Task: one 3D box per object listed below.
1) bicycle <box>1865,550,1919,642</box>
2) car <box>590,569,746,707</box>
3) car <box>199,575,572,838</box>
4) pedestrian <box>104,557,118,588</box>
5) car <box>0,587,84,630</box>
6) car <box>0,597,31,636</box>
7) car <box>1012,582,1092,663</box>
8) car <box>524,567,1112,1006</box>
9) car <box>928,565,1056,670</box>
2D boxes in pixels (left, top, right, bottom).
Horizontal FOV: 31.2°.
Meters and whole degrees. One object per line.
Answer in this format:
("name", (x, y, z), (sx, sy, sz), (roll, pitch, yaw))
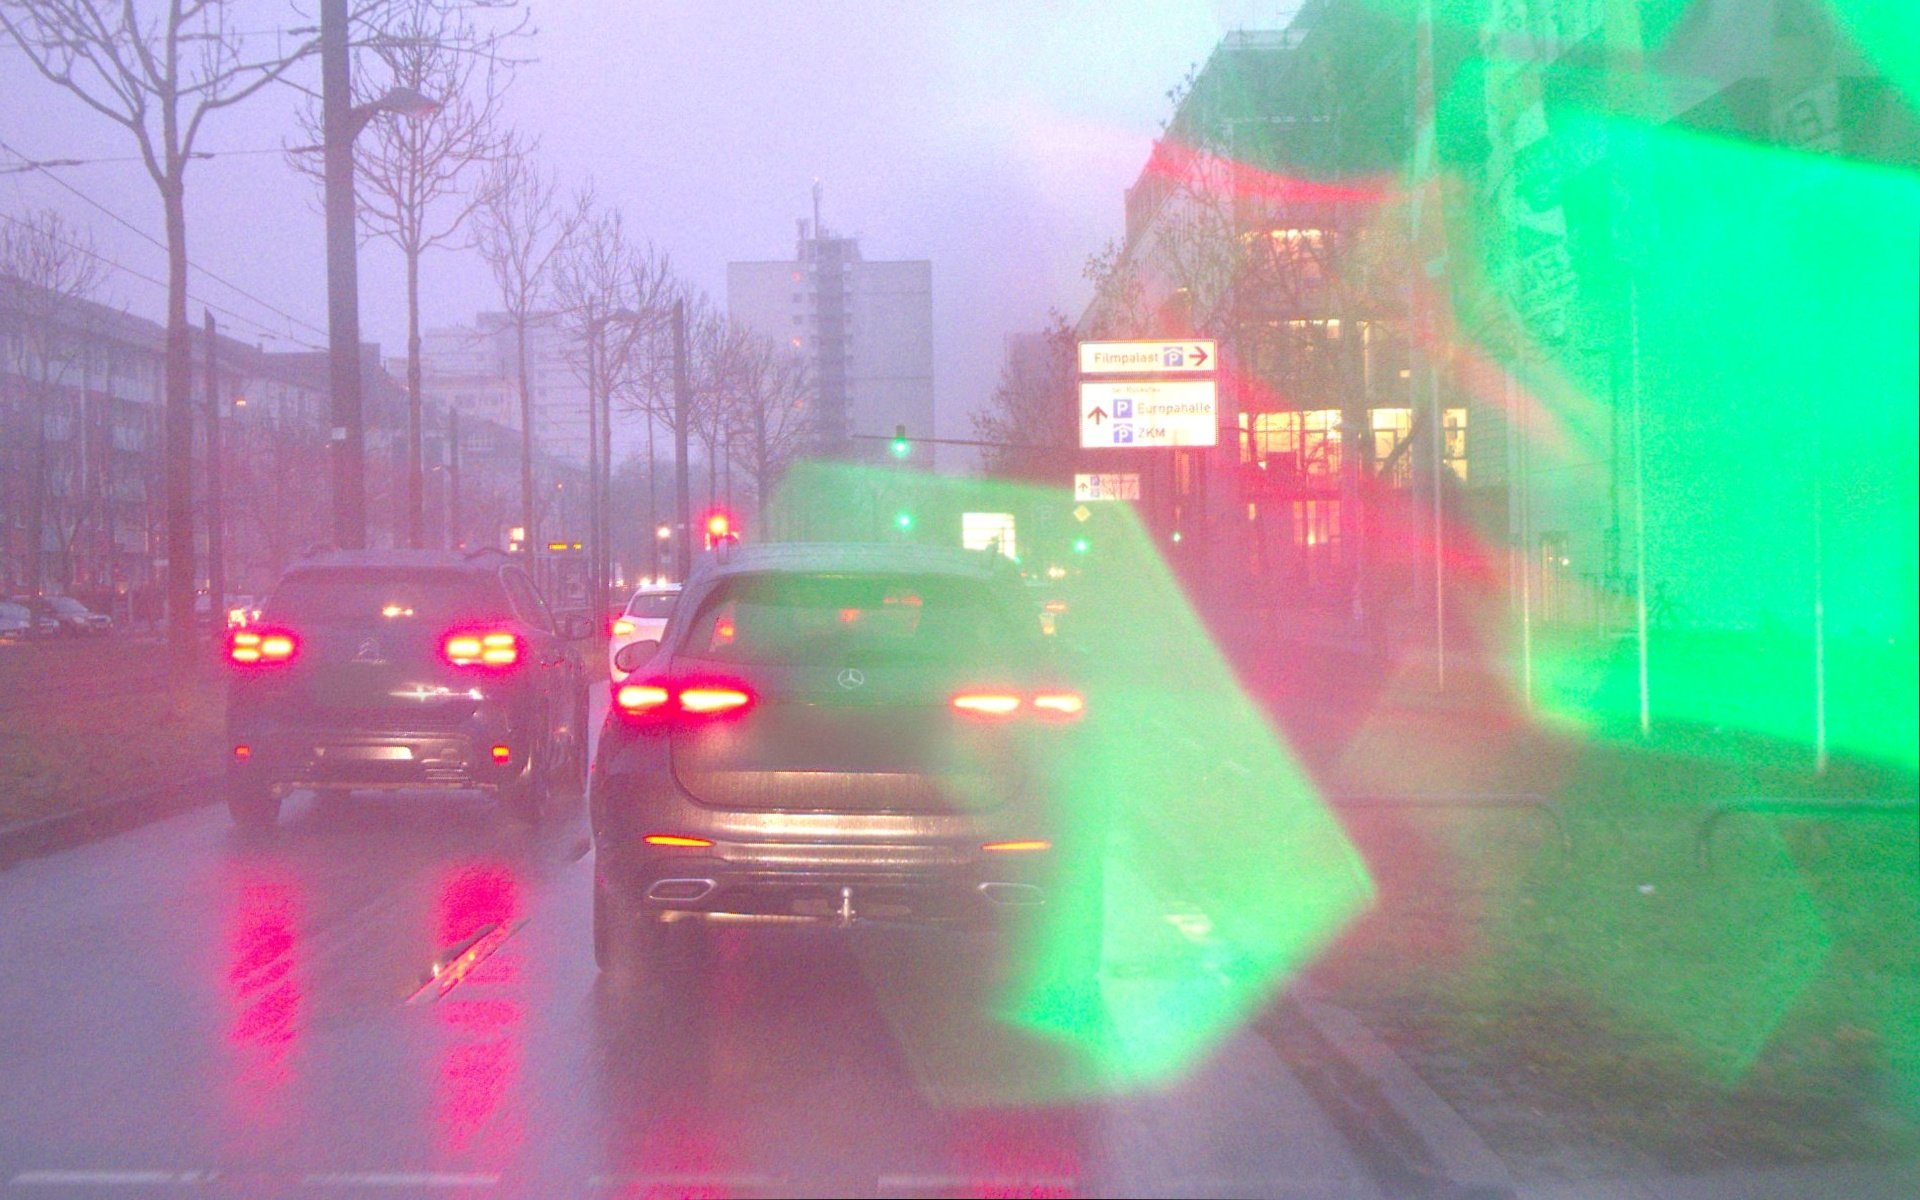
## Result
("bicycle", (13.206, -0.061, 48.669), (0.411, 1.280, 1.742), (1, 0, 26))
("car", (-3.610, 0.444, 42.958), (1.689, 1.630, 3.474), (1, 0, -1))
("car", (-3.460, 0.589, 21.372), (1.817, 1.445, 4.000), (1, 1, -3))
("pedestrian", (-32.314, -1.038, 130.792), (0.345, 1.180, 0.434), (1, 0, -41))
("car", (-29.846, 0.255, 109.917), (3.763, 1.332, 1.450), (0, 1, 35))
("car", (-29.794, 0.446, 102.273), (4.183, 1.112, 1.678), (1, 1, 30))
("car", (2.096, 0.484, 77.621), (1.639, 1.722, 4.000), (1, 1, 4))
("car", (-0.525, 0.634, 13.665), (1.993, 1.478, 3.700), (1, 0, -1))
("car", (0.533, 0.246, 53.231), (1.867, 1.537, 3.610), (1, 1, 2))
